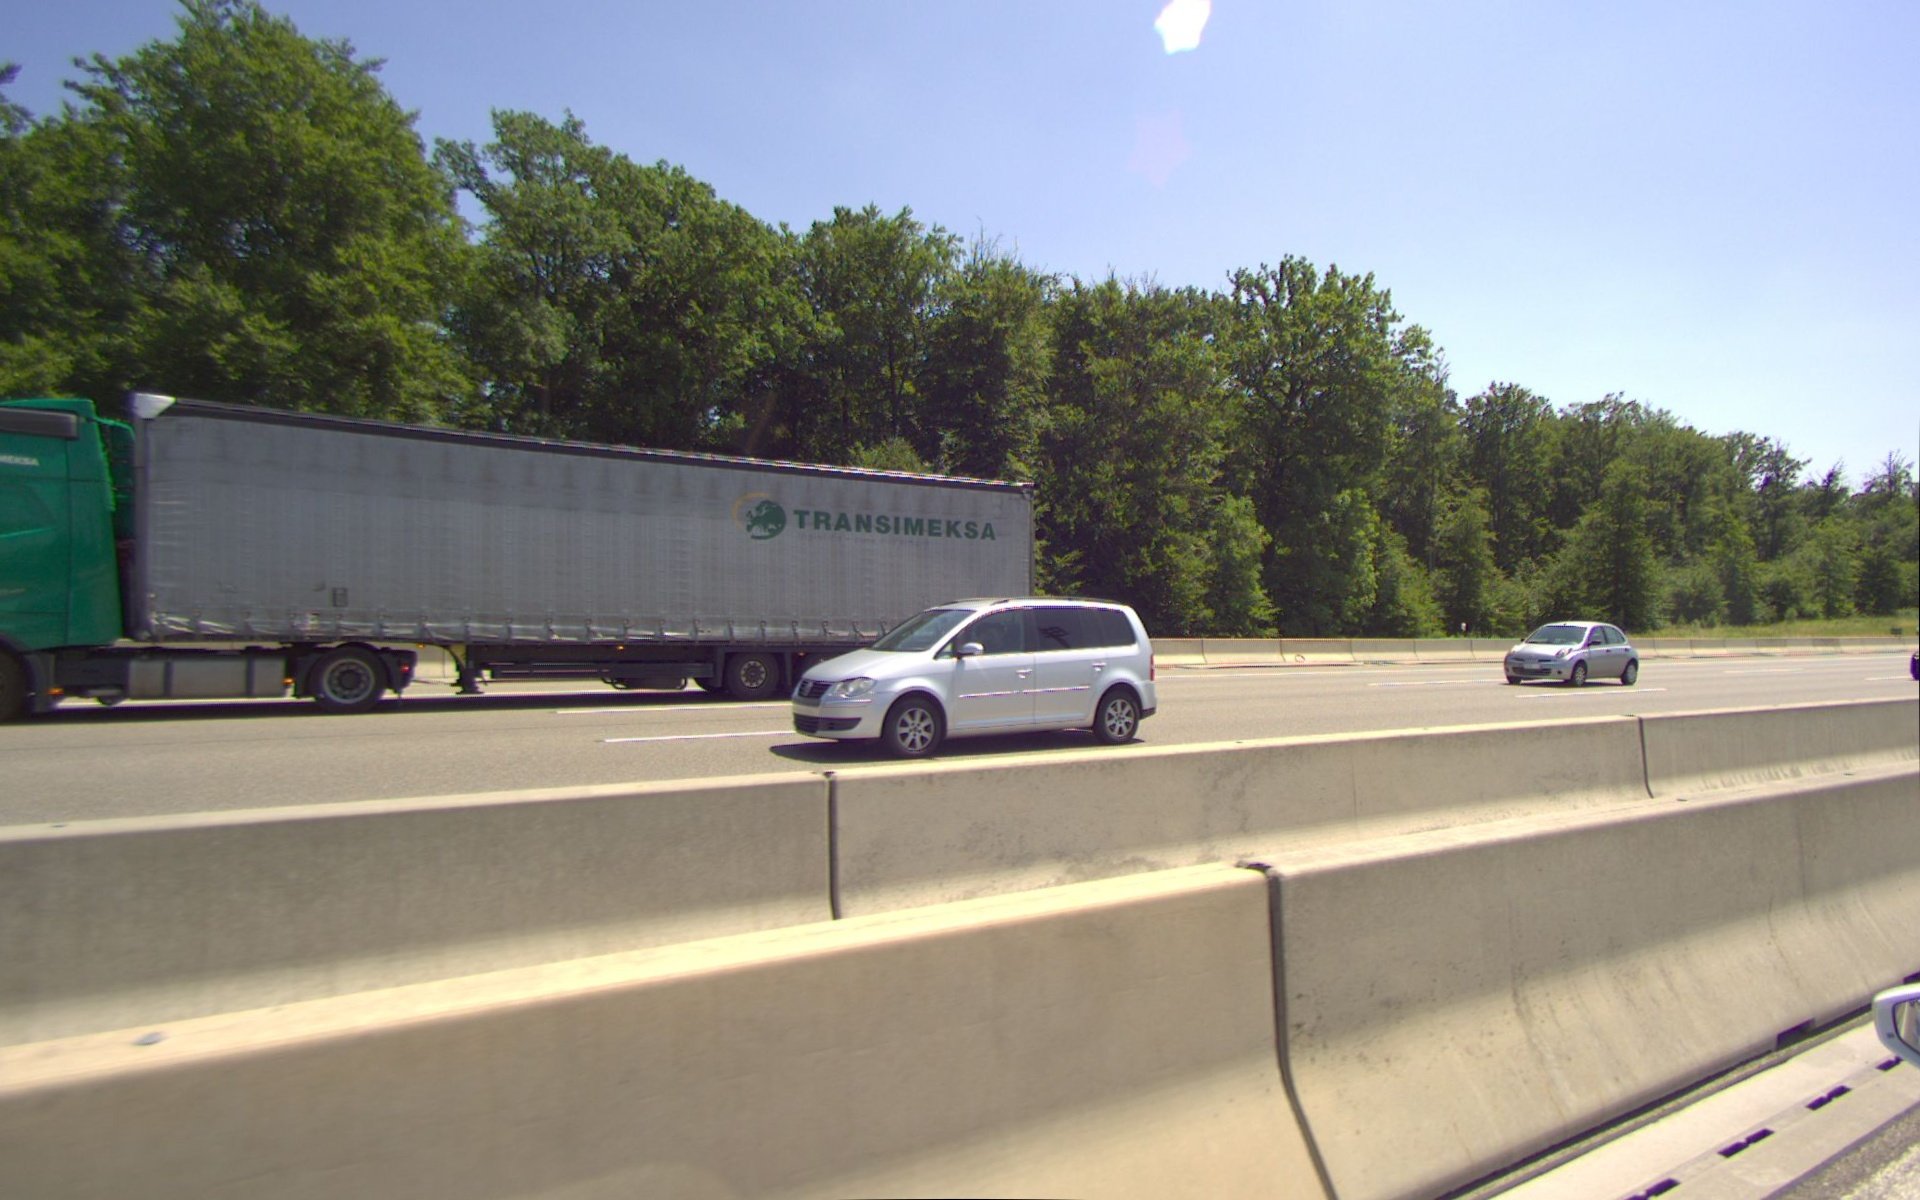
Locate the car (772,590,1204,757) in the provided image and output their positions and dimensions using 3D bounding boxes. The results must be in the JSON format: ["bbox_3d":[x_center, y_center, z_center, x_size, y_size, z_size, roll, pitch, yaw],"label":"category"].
[{"bbox_3d":[0.412,0.754,11.526,4.721,1.582,1.823,1,-1,-31],"label":"car"}]

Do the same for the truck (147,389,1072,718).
[{"bbox_3d":[-4.587,-0.442,17.176,14.130,4.079,2.677,1,0,-30],"label":"truck"}]

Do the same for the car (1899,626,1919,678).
[{"bbox_3d":[29.914,1.556,29.668,5.052,1.495,1.863,1,-1,-31],"label":"car"}]

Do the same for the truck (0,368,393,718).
[{"bbox_3d":[-10.800,-0.642,13.520,5.447,4.079,2.644,1,0,-31],"label":"truck"}]

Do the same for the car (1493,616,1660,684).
[{"bbox_3d":[15.288,1.201,24.891,4.088,1.555,1.863,1,-1,-31],"label":"car"}]
